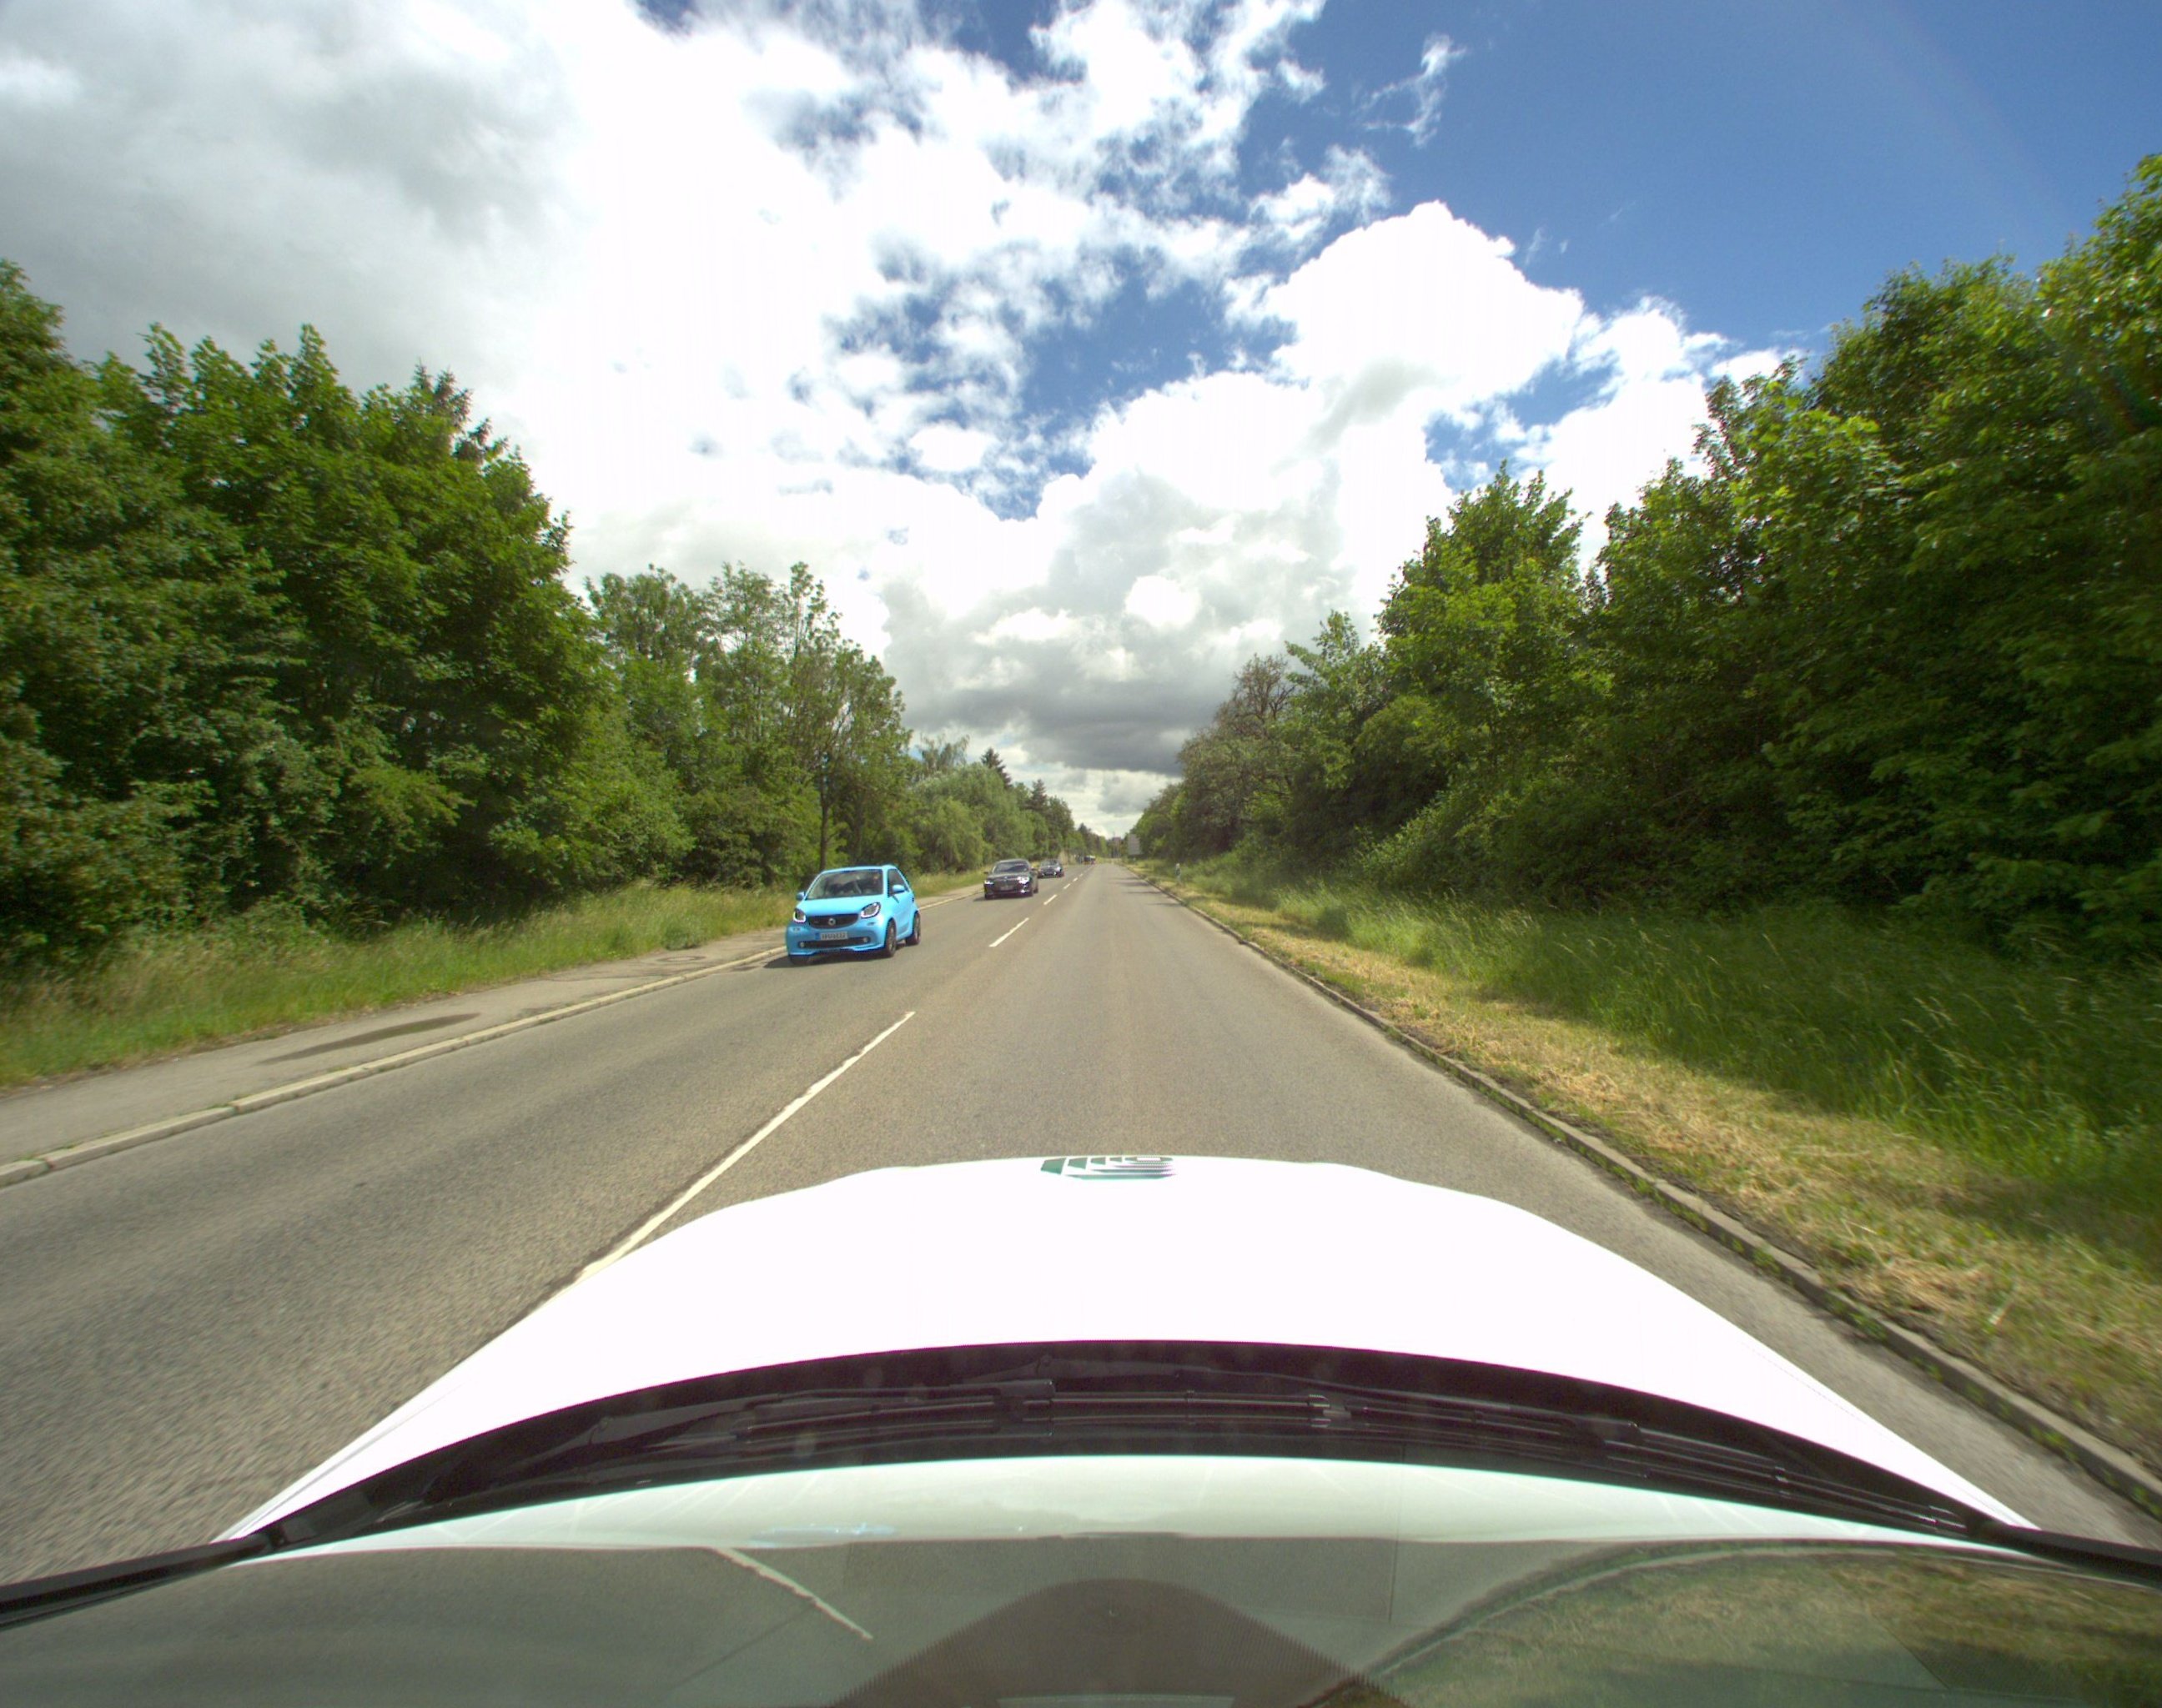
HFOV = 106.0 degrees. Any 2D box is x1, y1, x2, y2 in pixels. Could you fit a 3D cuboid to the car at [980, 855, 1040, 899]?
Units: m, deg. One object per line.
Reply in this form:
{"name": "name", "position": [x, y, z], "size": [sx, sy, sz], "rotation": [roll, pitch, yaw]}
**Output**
{"name": "car", "position": [-2.815, 0.880, 33.141], "size": [1.878, 1.491, 4.717], "rotation": [-4, 0, 0]}

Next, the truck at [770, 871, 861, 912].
{"name": "truck", "position": [-20.136, 2.818, 61.844], "size": [6.164, 2.609, 2.006], "rotation": [-4, -1, 10]}

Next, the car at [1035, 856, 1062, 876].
{"name": "car", "position": [-2.438, 0.871, 62.750], "size": [1.778, 1.334, 4.623], "rotation": [-4, 0, 0]}

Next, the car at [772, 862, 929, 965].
{"name": "car", "position": [-3.904, 0.948, 14.273], "size": [1.778, 1.446, 2.966], "rotation": [-4, 0, 0]}
